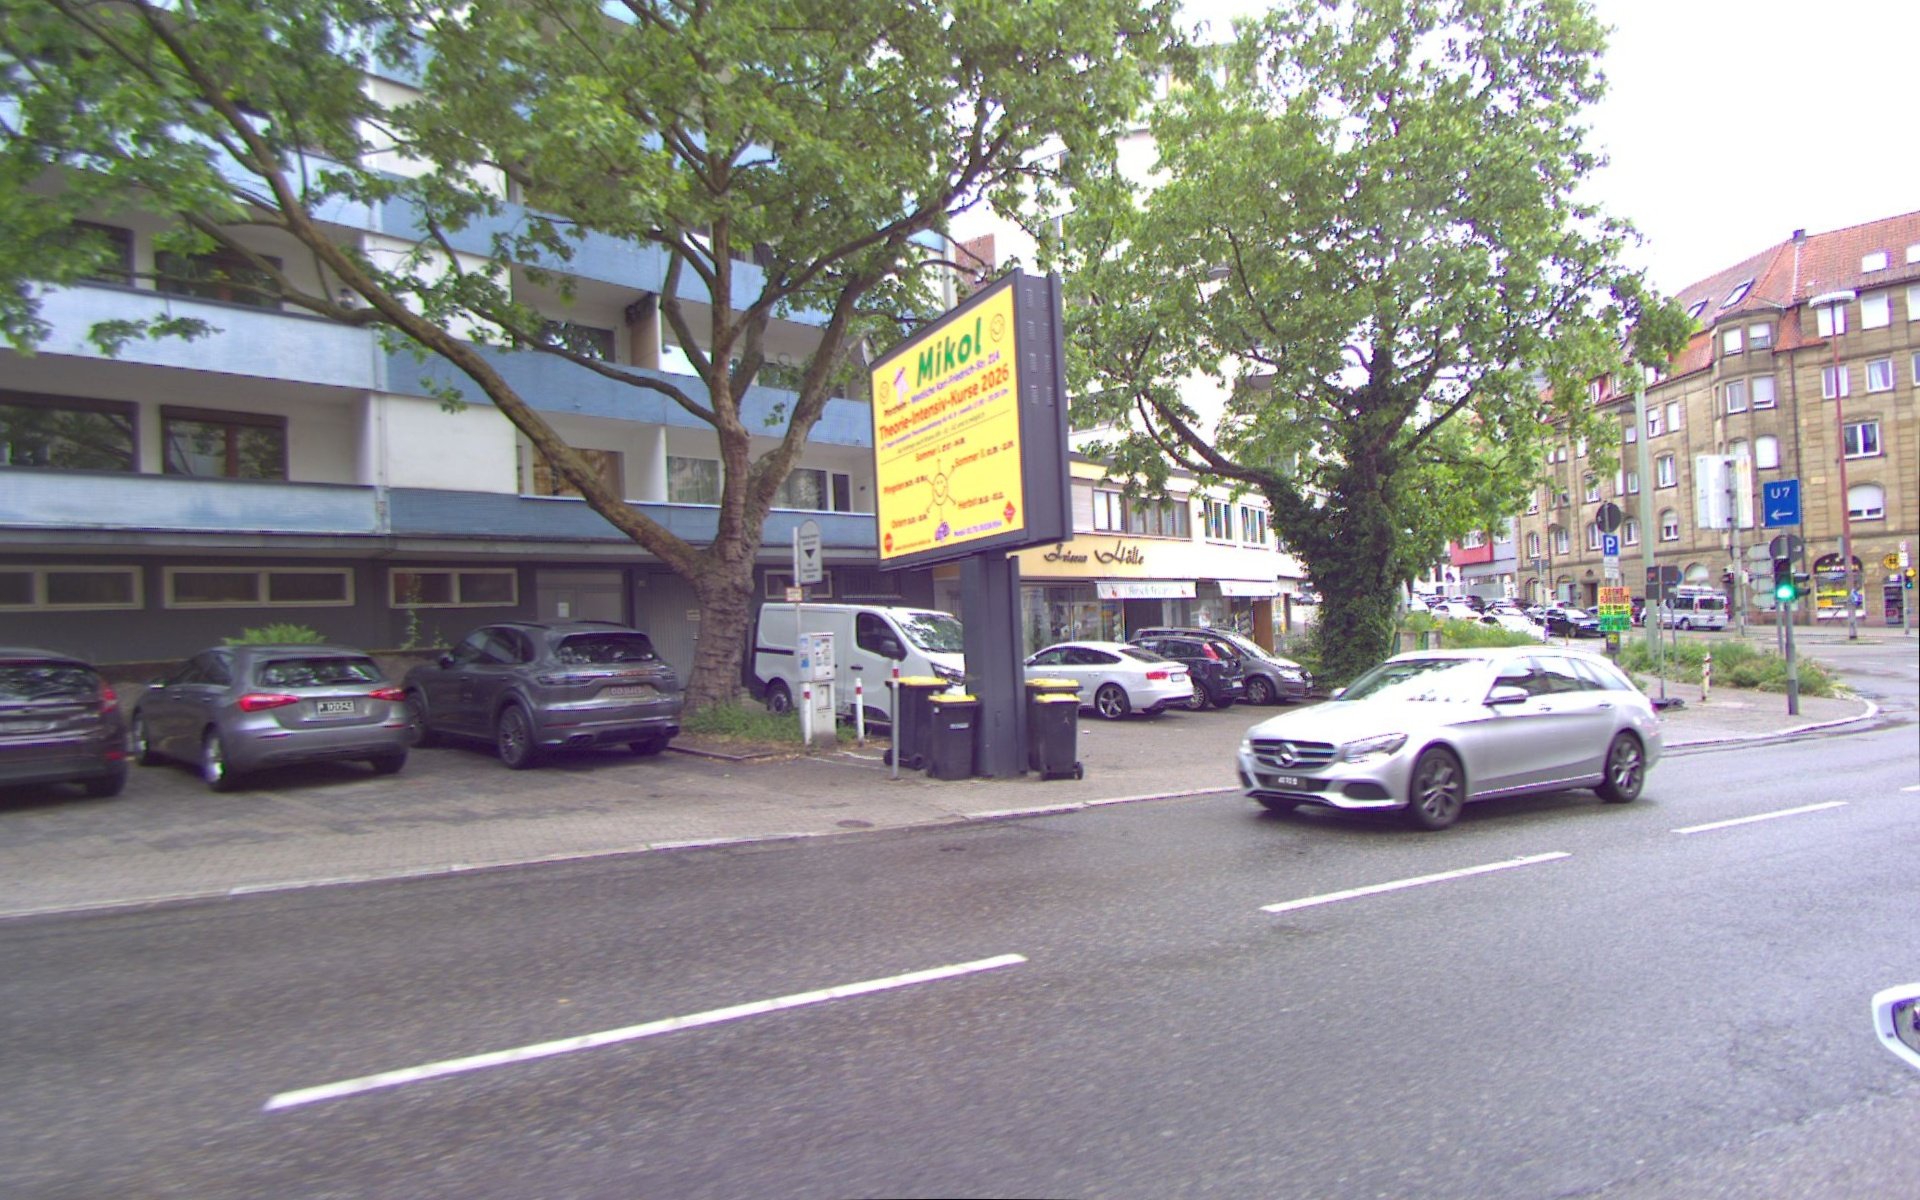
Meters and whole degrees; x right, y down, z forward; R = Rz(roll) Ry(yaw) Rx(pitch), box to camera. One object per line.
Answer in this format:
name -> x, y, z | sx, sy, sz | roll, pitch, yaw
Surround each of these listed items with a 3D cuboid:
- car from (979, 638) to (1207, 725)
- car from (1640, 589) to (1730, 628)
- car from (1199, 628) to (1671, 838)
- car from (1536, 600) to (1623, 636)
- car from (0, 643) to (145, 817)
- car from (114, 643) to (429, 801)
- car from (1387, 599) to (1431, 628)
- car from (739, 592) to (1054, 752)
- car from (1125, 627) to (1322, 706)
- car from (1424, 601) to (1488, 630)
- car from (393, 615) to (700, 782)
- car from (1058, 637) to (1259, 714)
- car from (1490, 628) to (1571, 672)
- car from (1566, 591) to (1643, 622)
car -> 2.518, 1.500, 19.568 | 4.122, 1.475, 1.786 | -1, -3, 41
car -> 40.919, 0.438, 56.806 | 1.961, 2.130, 4.292 | 0, 1, -1
car -> 4.489, 1.102, 9.330 | 4.419, 1.546, 1.730 | 1, -5, -30
car -> 31.983, 0.905, 51.984 | 1.960, 1.749, 4.250 | -1, 0, 2
car -> -9.765, 1.175, 9.929 | 3.929, 1.449, 1.692 | -1, -2, 36
car -> -7.865, 1.237, 11.377 | 3.870, 1.449, 1.742 | -1, -2, 36
car -> 32.213, 0.970, 72.176 | 1.545, 2.040, 4.001 | 0, -1, 3
car -> -1.126, 1.038, 15.848 | 5.001, 2.133, 1.983 | -1, -2, 41
car -> 6.069, 1.484, 23.347 | 4.072, 1.675, 1.762 | -1, -2, 38
car -> 31.998, 1.016, 64.934 | 1.961, 1.749, 4.250 | -2, -1, 0
car -> -5.462, 1.136, 13.031 | 4.305, 1.807, 1.930 | -1, -3, 41
car -> 4.213, 1.549, 21.640 | 3.926, 1.469, 1.761 | -1, -3, 41
car -> 28.019, 2.443, 49.478 | 1.841, 2.040, 4.002 | 0, -2, 2
car -> 39.708, 0.373, 62.012 | 1.961, 1.863, 4.292 | 0, 1, -1
